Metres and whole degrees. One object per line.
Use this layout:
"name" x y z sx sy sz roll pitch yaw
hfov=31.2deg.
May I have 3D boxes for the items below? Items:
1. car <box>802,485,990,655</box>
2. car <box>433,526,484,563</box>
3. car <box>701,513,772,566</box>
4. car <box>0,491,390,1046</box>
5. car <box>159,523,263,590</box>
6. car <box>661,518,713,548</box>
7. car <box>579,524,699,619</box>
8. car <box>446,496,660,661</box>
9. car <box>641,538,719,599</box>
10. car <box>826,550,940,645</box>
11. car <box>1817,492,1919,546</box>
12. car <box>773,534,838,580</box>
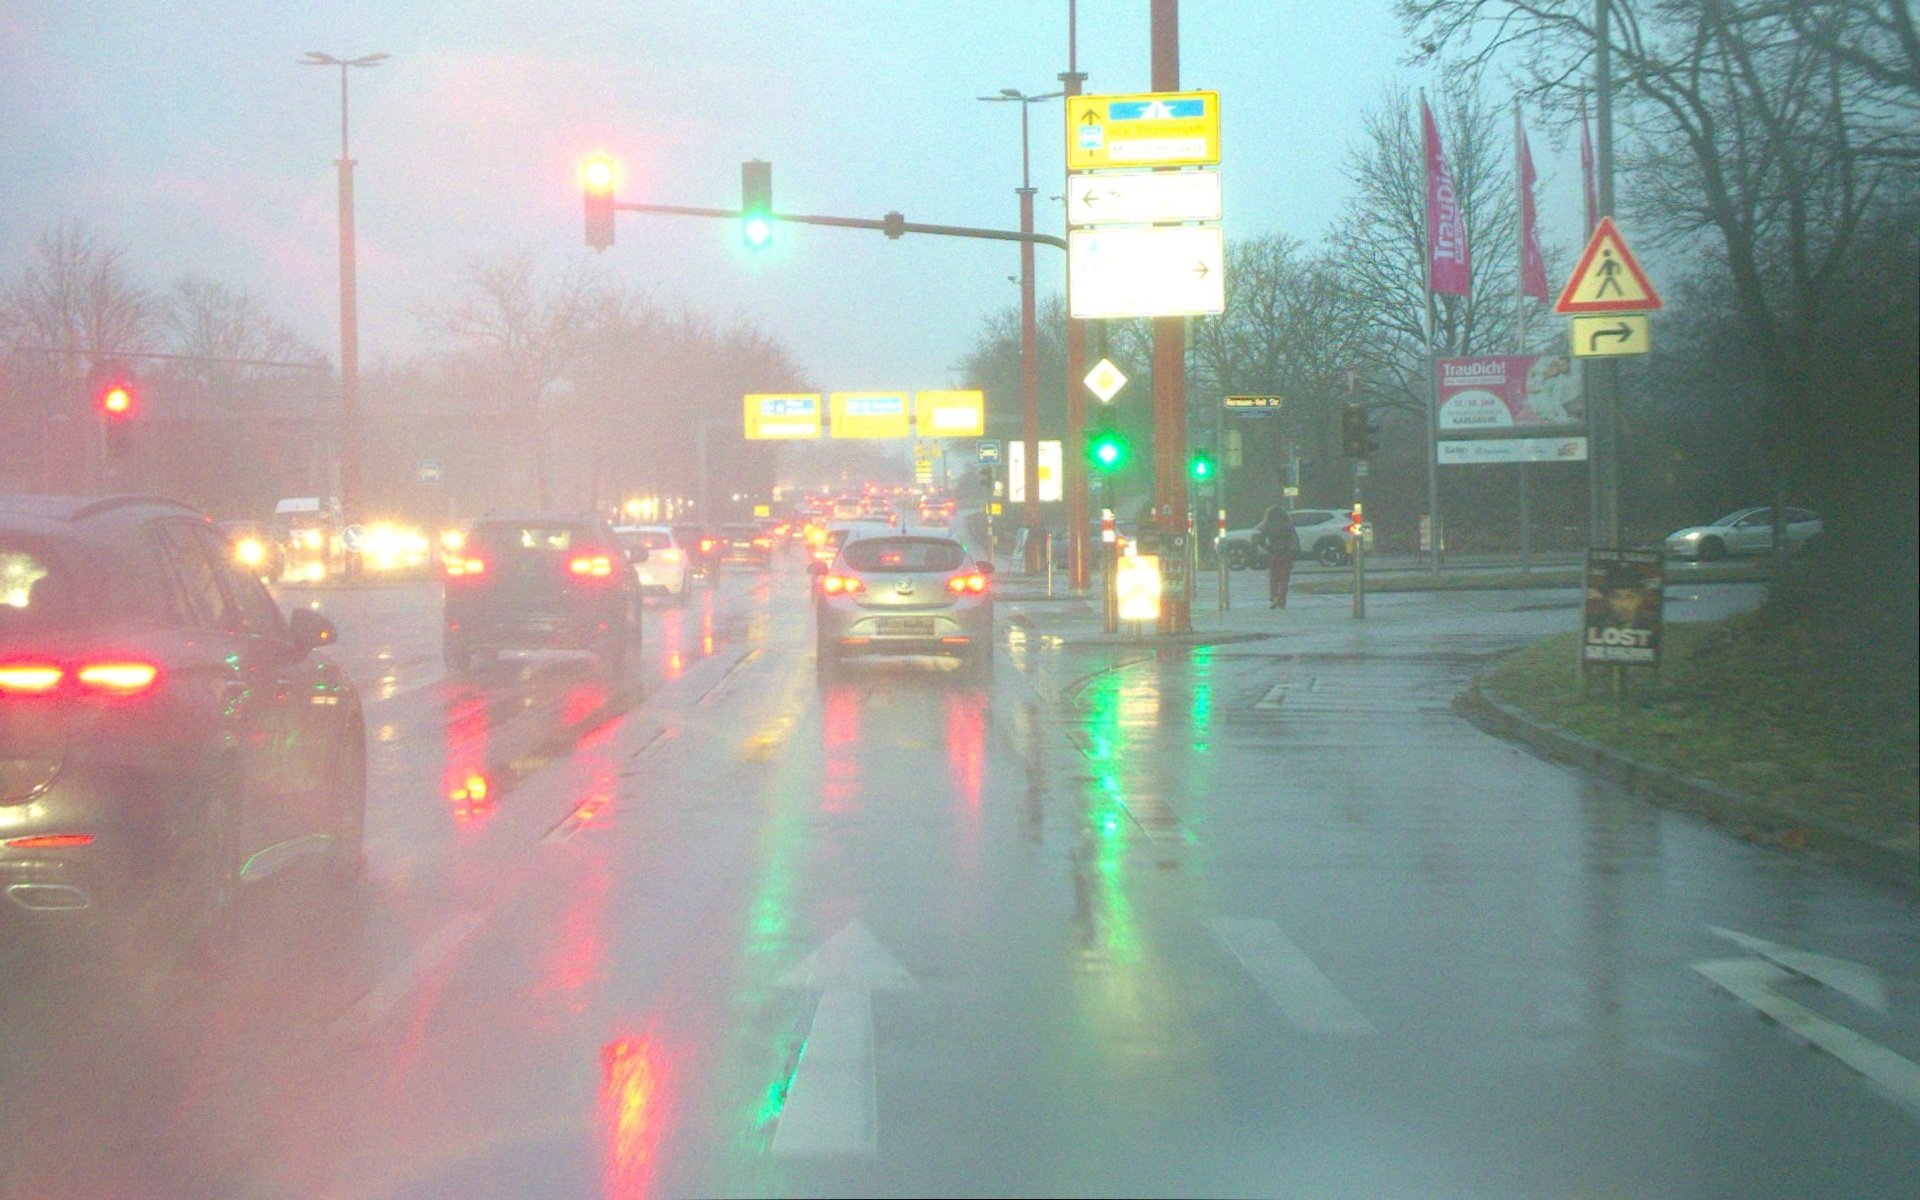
"car" -0.655 -0.343 35.981 1.822 1.642 4.467 -1 1 -1
"car" -22.257 -2.466 152.733 1.770 1.581 4.034 -1 2 -2
"car" -6.497 -1.780 100.306 1.822 1.499 4.000 -1 1 -1
"car" -3.329 0.461 12.431 1.822 1.642 4.467 -1 1 -1
"car" -18.723 -1.105 86.119 1.856 1.576 4.080 -1 2 -3
"car" -11.921 -2.929 150.523 1.993 1.236 4.000 1 1 -1
"car" -5.782 -0.543 62.317 1.822 1.642 4.000 -1 1 -1
"car" -4.246 -0.257 36.432 1.822 1.642 4.000 -1 1 -1
"car" -6.404 -0.750 78.898 1.505 1.334 4.000 -1 1 -1
"car" -1.404 -0.067 62.887 1.993 1.656 4.000 1 1 -1
"car" 25.045 -2.139 89.956 4.739 1.371 1.883 -1 1 -2
"car" -5.109 -1.430 114.200 1.993 1.499 4.000 1 1 -1
